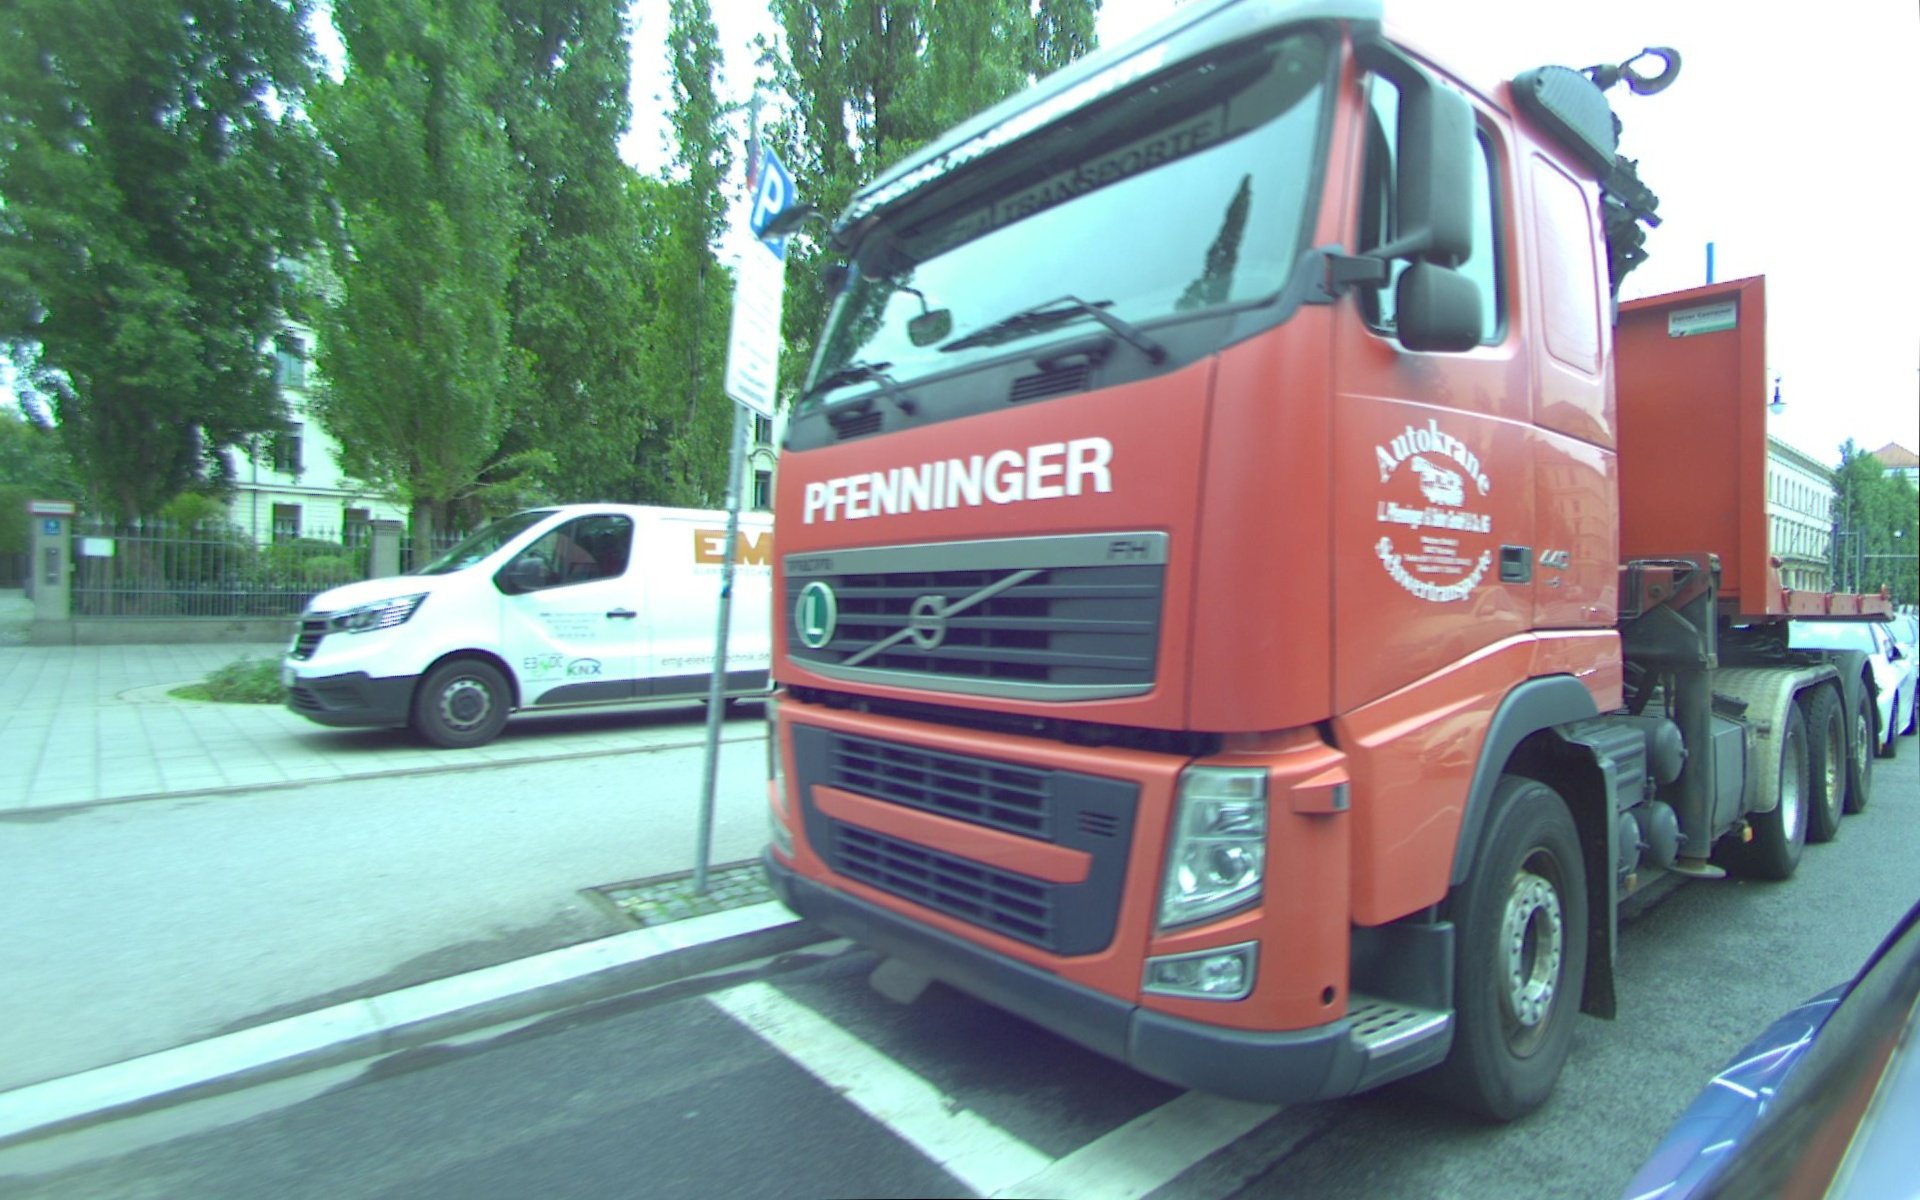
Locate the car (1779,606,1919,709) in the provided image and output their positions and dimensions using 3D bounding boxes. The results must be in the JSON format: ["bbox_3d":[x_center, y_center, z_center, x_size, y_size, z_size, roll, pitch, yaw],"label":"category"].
[{"bbox_3d":[14.218,0.792,15.579,4.293,1.326,1.739,0,1,-40],"label":"car"}]

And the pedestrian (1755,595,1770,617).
[{"bbox_3d":[76.399,0.550,96.323,0.985,2.039,0.944,1,1,-40],"label":"pedestrian"}]

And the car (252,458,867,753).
[{"bbox_3d":[-3.306,0.042,9.084,4.802,1.969,1.882,0,-1,-43],"label":"car"}]

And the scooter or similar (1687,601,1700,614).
[{"bbox_3d":[64.989,0.653,89.664,1.627,1.155,0.567,0,1,-40],"label":"scooter or similar"}]

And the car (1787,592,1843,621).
[{"bbox_3d":[58.660,0.438,69.419,4.231,1.880,1.891,0,1,-35],"label":"car"}]

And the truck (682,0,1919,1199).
[{"bbox_3d":[3.636,-0.213,6.395,10.244,3.149,2.718,0,1,-41],"label":"truck"}]

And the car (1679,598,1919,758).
[{"bbox_3d":[9.778,0.726,11.461,4.144,1.478,1.790,0,0,-41],"label":"car"}]

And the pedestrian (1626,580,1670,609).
[{"bbox_3d":[28.897,-0.232,42.539,1.353,1.222,0.803,0,0,21],"label":"pedestrian"}]
